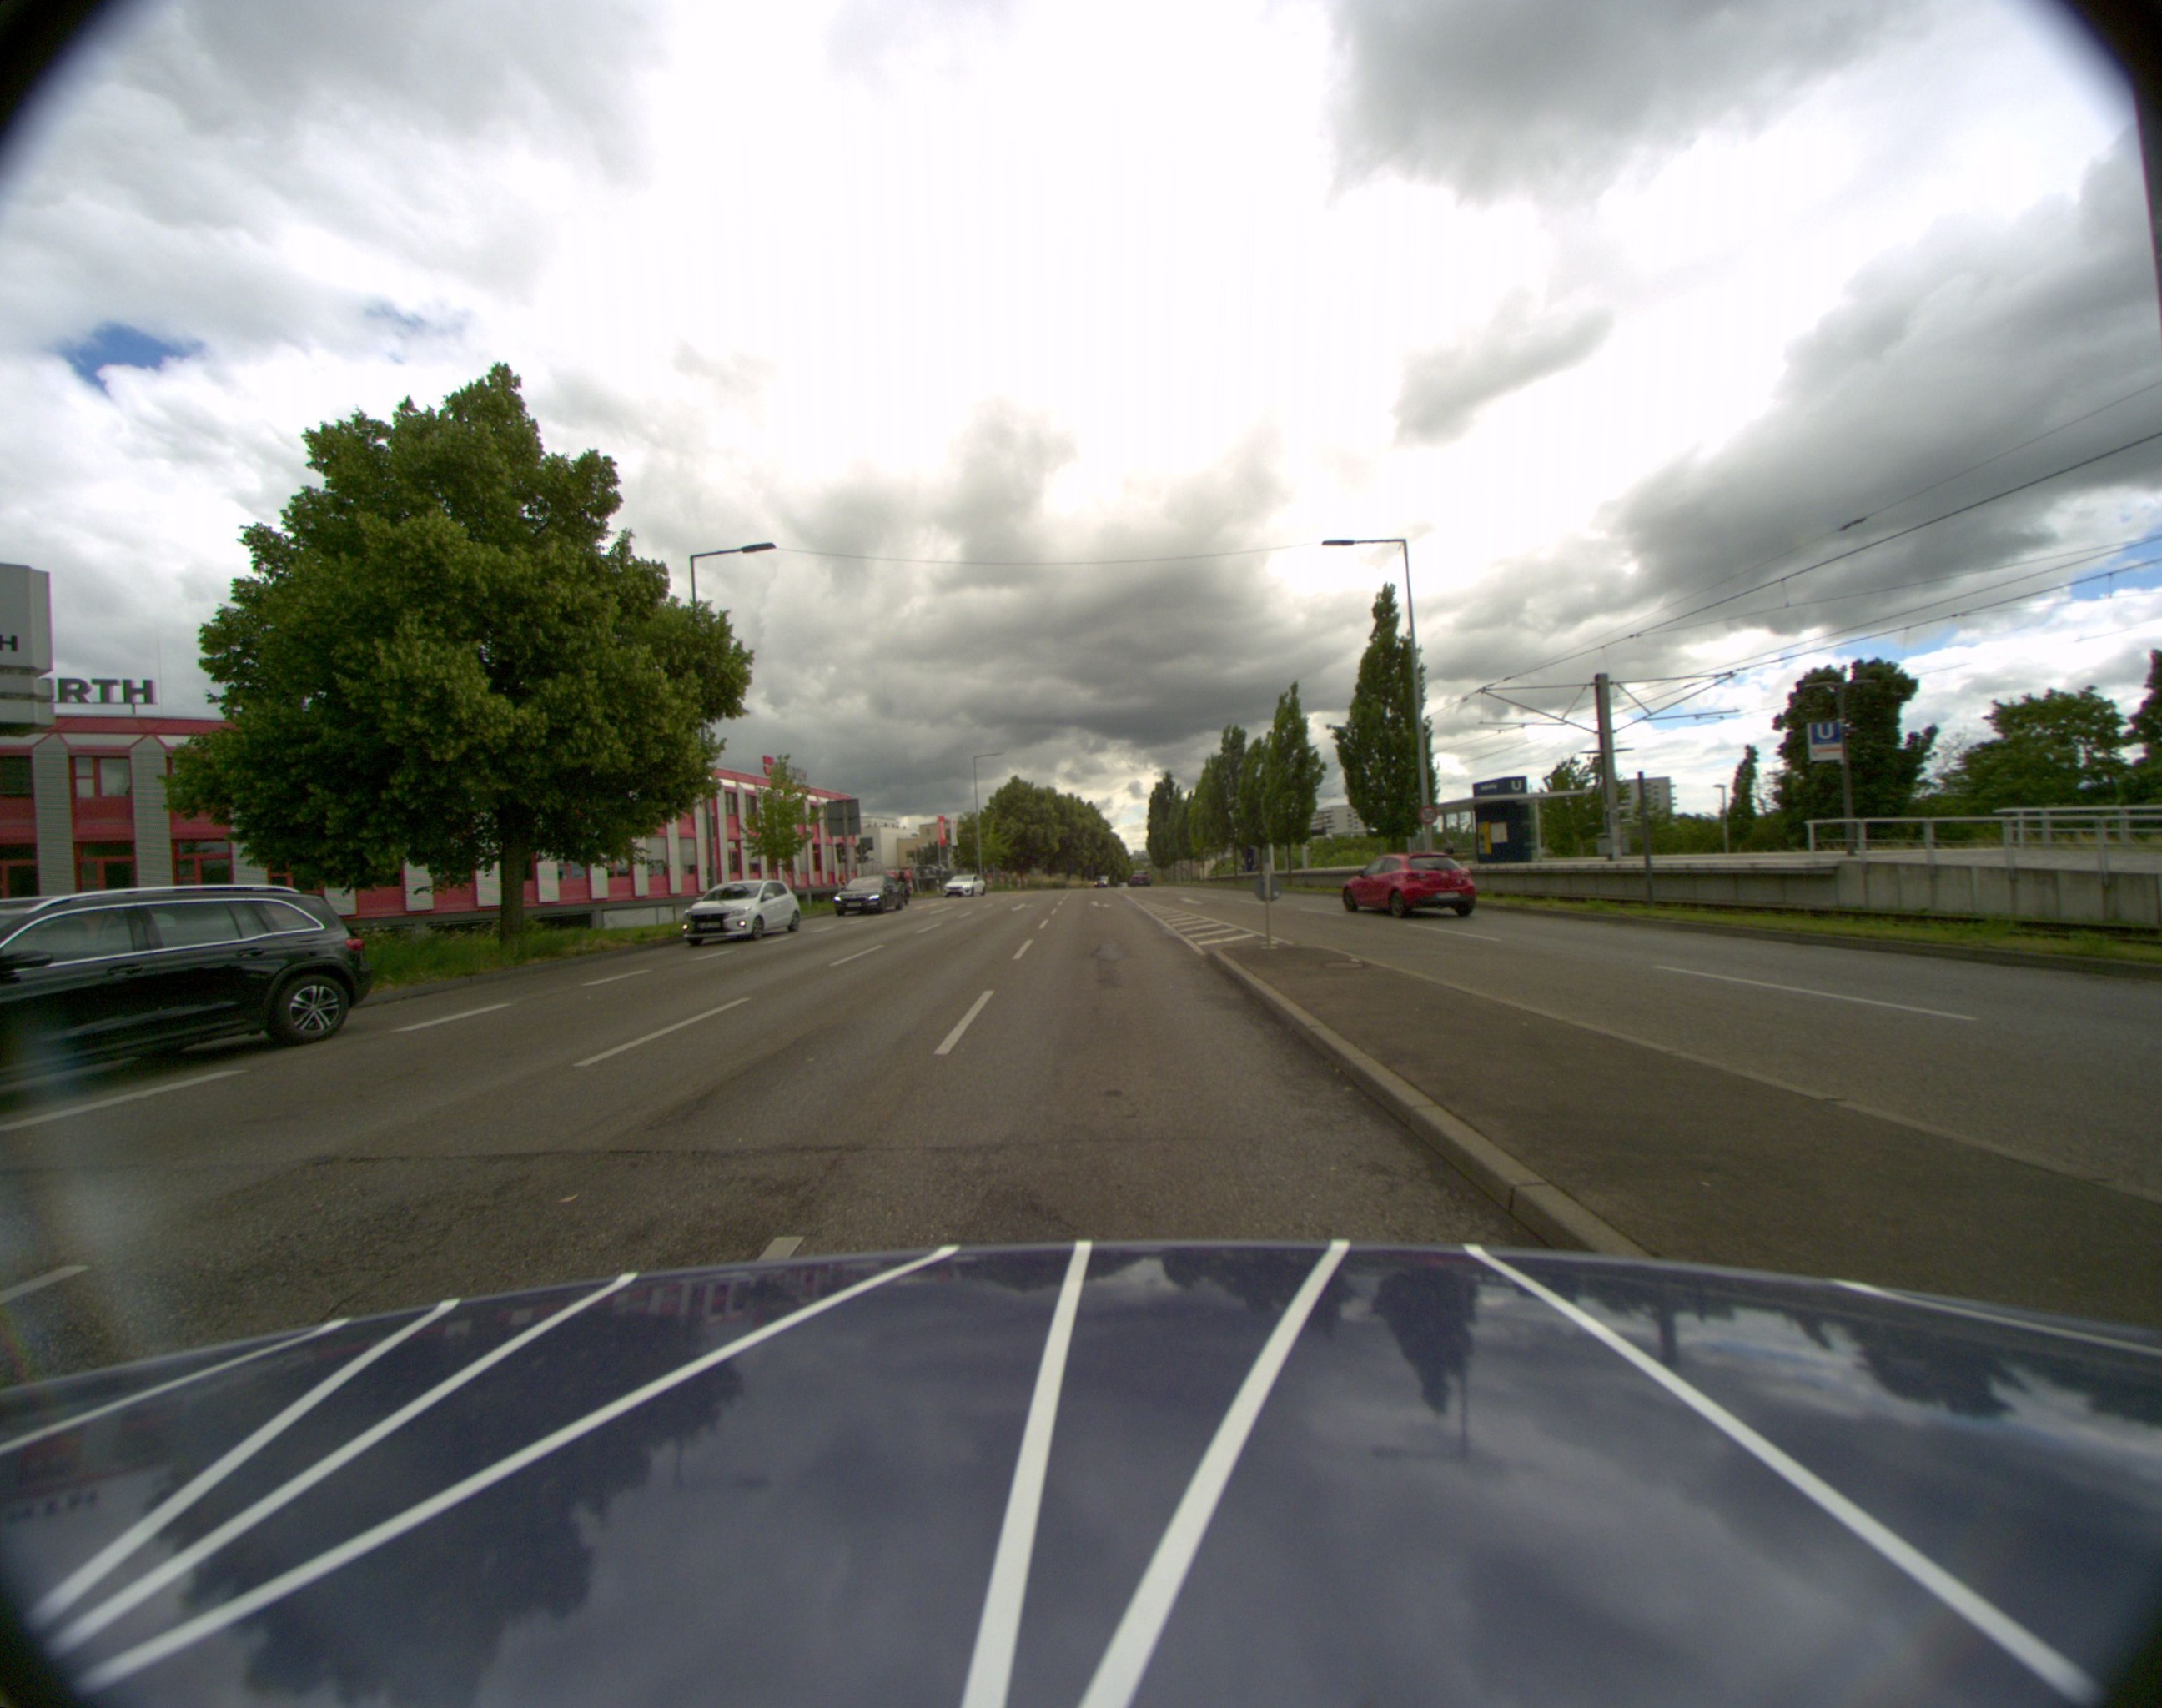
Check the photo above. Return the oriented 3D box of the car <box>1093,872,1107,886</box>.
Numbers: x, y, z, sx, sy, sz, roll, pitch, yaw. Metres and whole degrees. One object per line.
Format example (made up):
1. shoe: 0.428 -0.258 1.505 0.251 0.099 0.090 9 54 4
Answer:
1. car: 2.618 3.427 103.613 1.782 1.744 4.252 -2 0 2

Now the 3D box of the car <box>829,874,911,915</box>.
1. car: -8.070 1.514 29.474 1.785 1.437 4.530 -1 -2 1

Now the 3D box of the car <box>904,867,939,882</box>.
1. car: -21.212 2.679 101.007 4.248 1.744 1.784 -2 0 2

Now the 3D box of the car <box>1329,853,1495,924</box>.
1. car: 7.733 0.724 18.282 1.786 1.434 4.423 -3 0 -4

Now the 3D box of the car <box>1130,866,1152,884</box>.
1. car: 5.905 2.072 75.408 1.782 1.537 4.224 -2 0 0

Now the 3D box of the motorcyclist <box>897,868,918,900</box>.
1. motorcyclist: -8.344 1.441 36.503 0.750 1.481 0.933 -4 -1 -4

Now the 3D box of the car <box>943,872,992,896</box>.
1. car: -7.227 1.910 48.780 1.784 1.353 4.484 -4 -2 8

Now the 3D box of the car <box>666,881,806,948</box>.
1. car: -8.527 1.438 19.181 1.785 1.434 3.835 -3 -2 -1

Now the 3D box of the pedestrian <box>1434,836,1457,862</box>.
1. pedestrian: 17.622 -0.229 36.733 0.663 1.195 0.782 -2 0 -7

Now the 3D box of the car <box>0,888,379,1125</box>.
1. car: -8.856 1.254 6.264 1.785 1.640 4.427 -5 -1 2

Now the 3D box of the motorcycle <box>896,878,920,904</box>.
1. motorcycle: -8.339 1.786 36.711 0.750 1.140 1.942 -4 -1 -4
